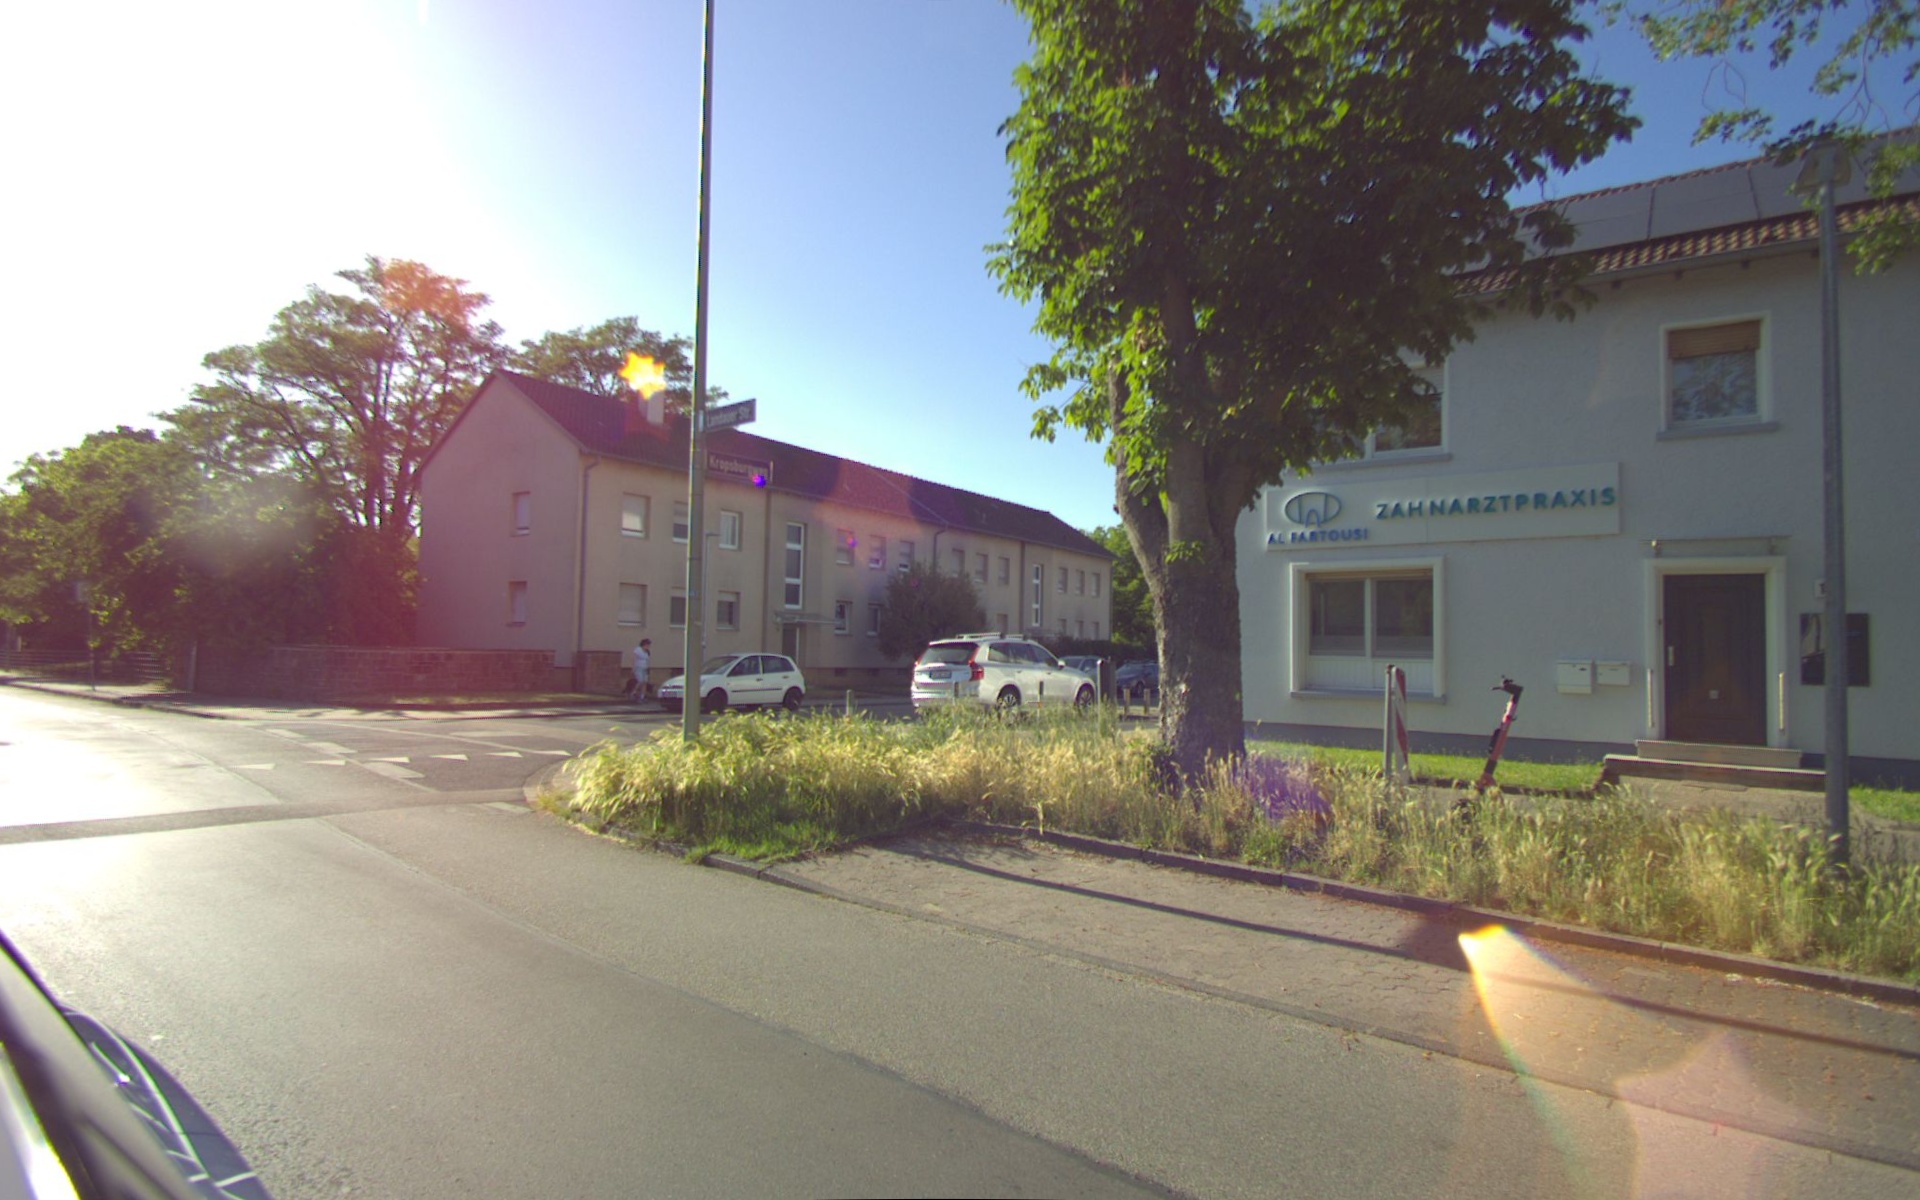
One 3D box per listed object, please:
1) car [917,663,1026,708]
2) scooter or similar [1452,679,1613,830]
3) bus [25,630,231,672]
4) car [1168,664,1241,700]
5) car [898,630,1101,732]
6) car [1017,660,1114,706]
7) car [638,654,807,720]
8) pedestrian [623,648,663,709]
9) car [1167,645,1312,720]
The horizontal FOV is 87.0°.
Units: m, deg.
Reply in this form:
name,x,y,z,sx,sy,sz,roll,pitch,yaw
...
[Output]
name,x,y,z,sx,sy,sz,roll,pitch,yaw
car,0.425,2.832,33.869,1.867,1.407,3.733,-3,-5,35
scooter or similar,4.204,1.103,7.456,0.996,1.008,0.332,-1,-4,36
bus,-65.012,3.928,79.477,12.292,3.122,3.133,2,-4,-44
car,11.553,3.836,47.607,1.869,1.626,3.728,-4,-6,40
car,0.928,1.673,20.894,1.996,1.852,4.447,-5,-6,36
car,3.992,3.104,37.969,1.869,1.626,3.728,-4,-6,40
car,-5.763,2.124,24.883,1.868,1.490,3.731,-4,-6,37
pedestrian,-8.333,2.047,26.592,0.638,1.565,0.776,-3,-4,36
car,6.605,1.970,23.583,1.994,1.567,4.463,-2,-7,33
